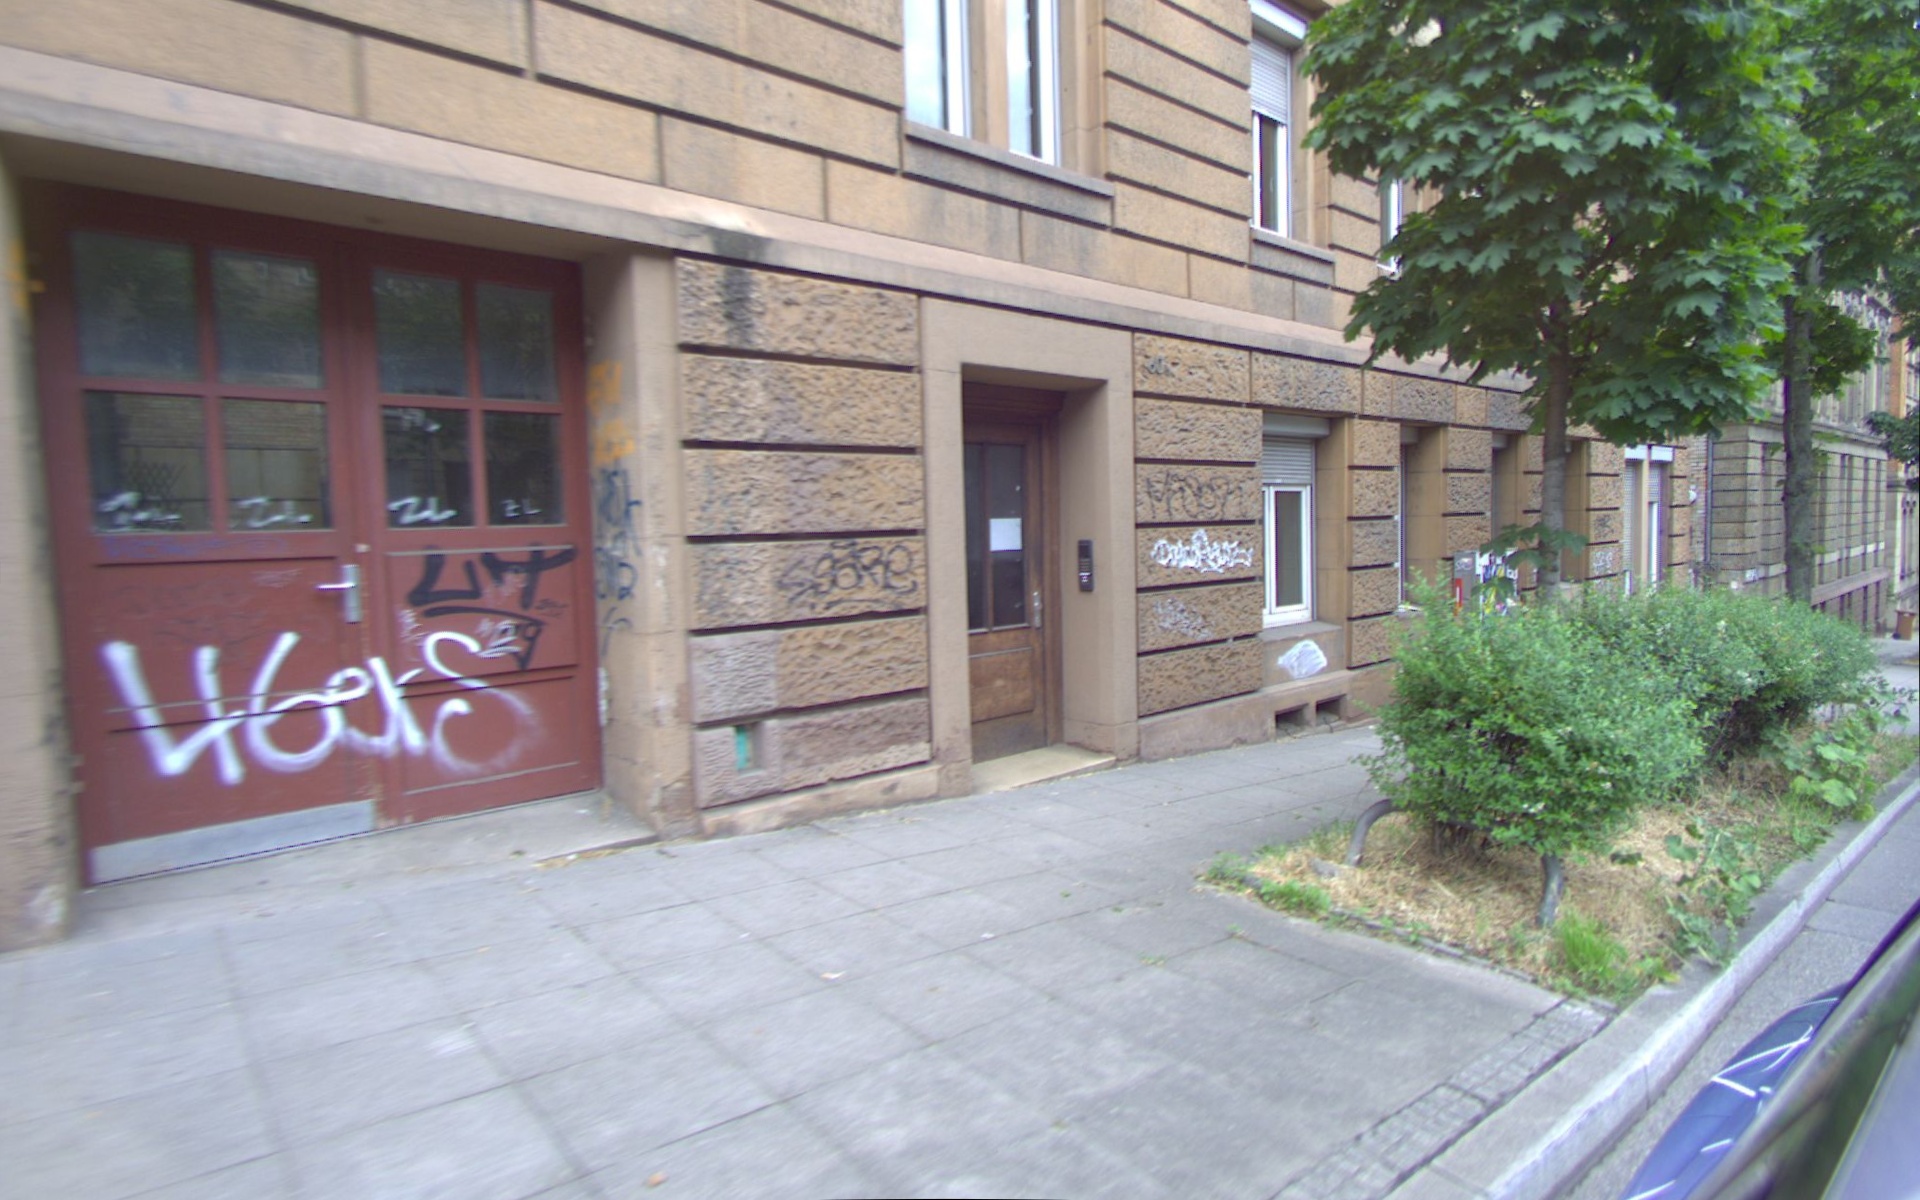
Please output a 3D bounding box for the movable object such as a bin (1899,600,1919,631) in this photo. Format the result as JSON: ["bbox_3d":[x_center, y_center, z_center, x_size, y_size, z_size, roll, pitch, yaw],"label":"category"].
[{"bbox_3d":[28.920,0.472,30.608,0.572,0.908,0.672,3,2,-42],"label":"movable object such as a bin"}]
